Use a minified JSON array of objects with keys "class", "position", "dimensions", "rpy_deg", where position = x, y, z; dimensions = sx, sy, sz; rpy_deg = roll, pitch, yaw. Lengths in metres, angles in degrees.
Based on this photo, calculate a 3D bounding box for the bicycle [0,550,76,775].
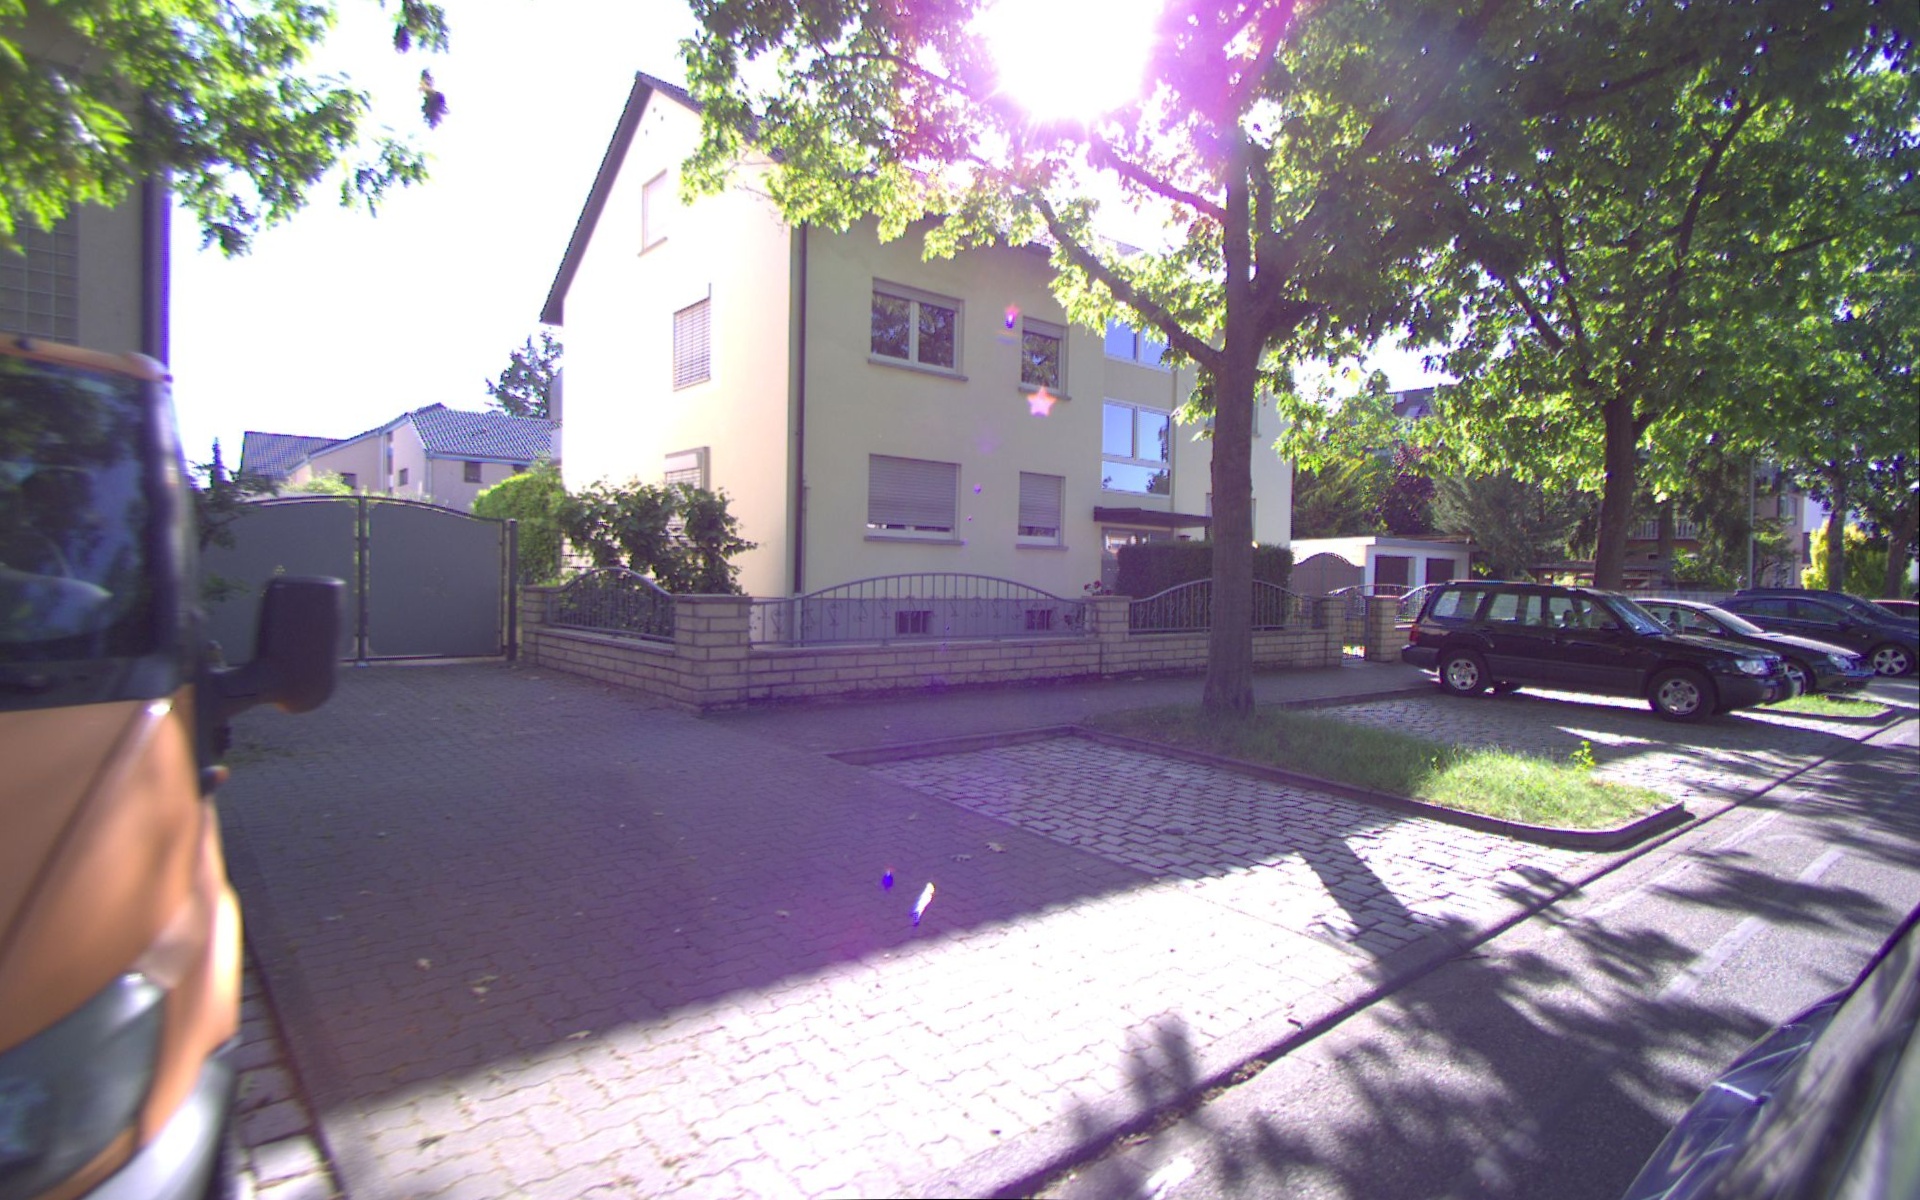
[{"class":"bicycle","position":[-6.504,0.315,7.025],"dimensions":[0.459,1.252,2.866],"rpy_deg":[0,3,-39]}]

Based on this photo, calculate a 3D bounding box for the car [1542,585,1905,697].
[{"class":"car","position":[12.322,0.559,16.631],"dimensions":[1.659,1.347,4.442],"rpy_deg":[0,4,-37]}]

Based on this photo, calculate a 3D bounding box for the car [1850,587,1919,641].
[{"class":"car","position":[29.186,0.459,30.092],"dimensions":[1.724,1.502,3.789],"rpy_deg":[-1,4,-38]}]

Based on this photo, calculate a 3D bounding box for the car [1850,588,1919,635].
[{"class":"car","position":[32.472,0.445,33.287],"dimensions":[1.804,1.463,4.516],"rpy_deg":[0,3,-38]}]

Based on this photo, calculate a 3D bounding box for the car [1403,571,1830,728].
[{"class":"car","position":[8.429,0.496,13.344],"dimensions":[1.835,1.579,4.347],"rpy_deg":[0,3,-41]}]

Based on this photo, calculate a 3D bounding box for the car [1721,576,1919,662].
[{"class":"car","position":[20.261,0.405,22.826],"dimensions":[1.805,1.666,4.586],"rpy_deg":[0,4,-39]}]

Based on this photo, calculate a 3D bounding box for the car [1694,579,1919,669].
[{"class":"car","position":[18.167,0.454,21.050],"dimensions":[1.808,1.548,4.330],"rpy_deg":[0,3,-40]}]

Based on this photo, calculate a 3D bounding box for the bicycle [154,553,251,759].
[{"class":"bicycle","position":[-5.795,0.303,7.685],"dimensions":[0.459,1.252,2.866],"rpy_deg":[-1,4,-39]}]

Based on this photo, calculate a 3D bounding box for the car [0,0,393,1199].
[{"class":"car","position":[-3.115,0.226,2.568],"dimensions":[2.049,2.108,4.830],"rpy_deg":[0,3,-40]}]

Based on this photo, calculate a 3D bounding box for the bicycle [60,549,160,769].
[{"class":"bicycle","position":[-6.163,0.301,7.378],"dimensions":[0.459,1.252,2.866],"rpy_deg":[-1,4,-39]}]
